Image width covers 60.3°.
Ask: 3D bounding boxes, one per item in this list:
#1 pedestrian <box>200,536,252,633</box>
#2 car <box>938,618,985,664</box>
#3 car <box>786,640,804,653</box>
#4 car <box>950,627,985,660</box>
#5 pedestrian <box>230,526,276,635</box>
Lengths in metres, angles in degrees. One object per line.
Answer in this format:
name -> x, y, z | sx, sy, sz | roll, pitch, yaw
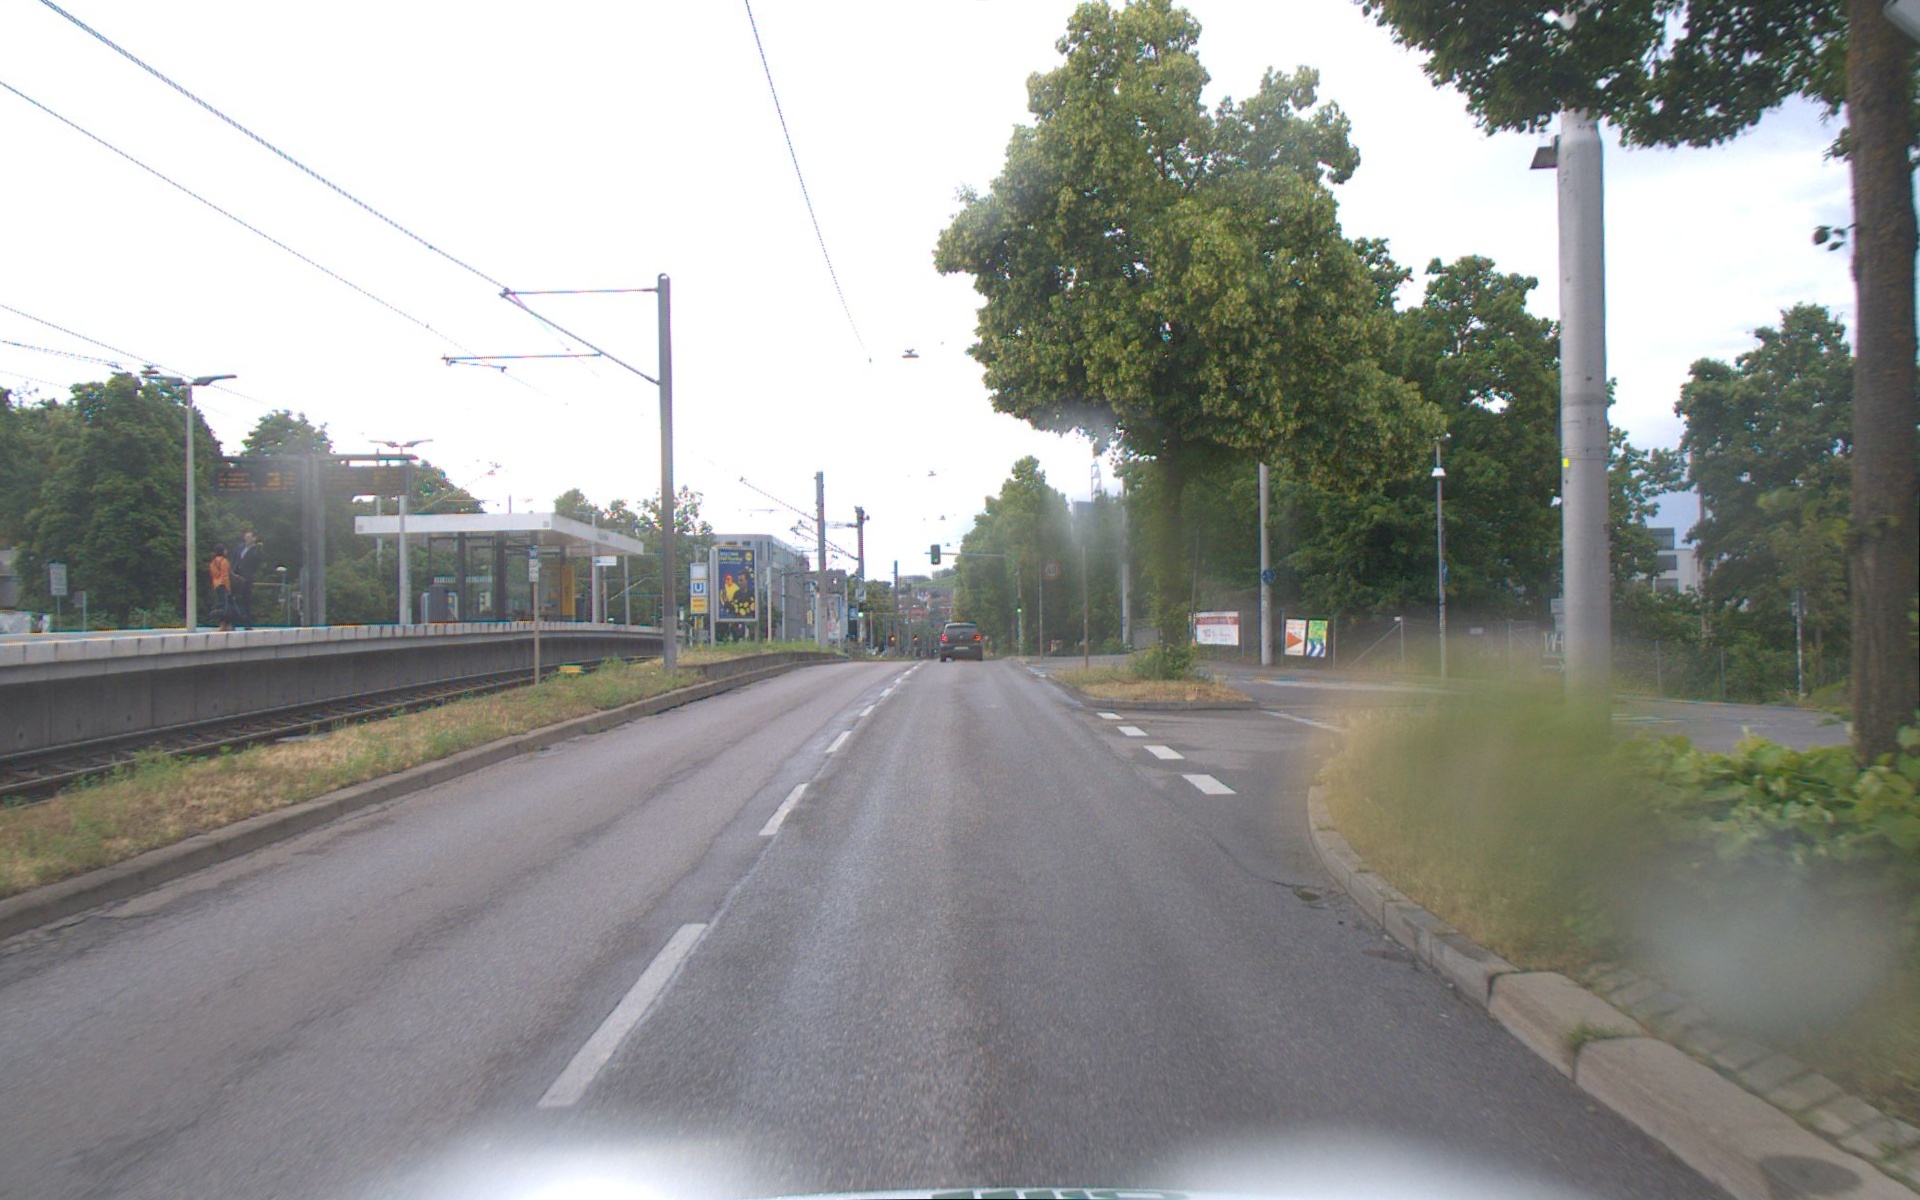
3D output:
pedestrian -> -12.878, -0.278, 29.039 | 0.784, 1.675, 0.913 | 0, 1, -22
car -> 0.043, 1.544, 63.548 | 1.692, 1.567, 3.999 | -1, 1, -1
car -> -23.743, 6.718, 238.152 | 1.811, 1.660, 3.611 | 2, 1, 5
car -> 0.368, 2.276, 86.668 | 1.653, 1.544, 3.999 | -1, 1, -1
pedestrian -> -12.848, -0.356, 30.089 | 0.733, 1.942, 0.836 | 0, 1, -22
